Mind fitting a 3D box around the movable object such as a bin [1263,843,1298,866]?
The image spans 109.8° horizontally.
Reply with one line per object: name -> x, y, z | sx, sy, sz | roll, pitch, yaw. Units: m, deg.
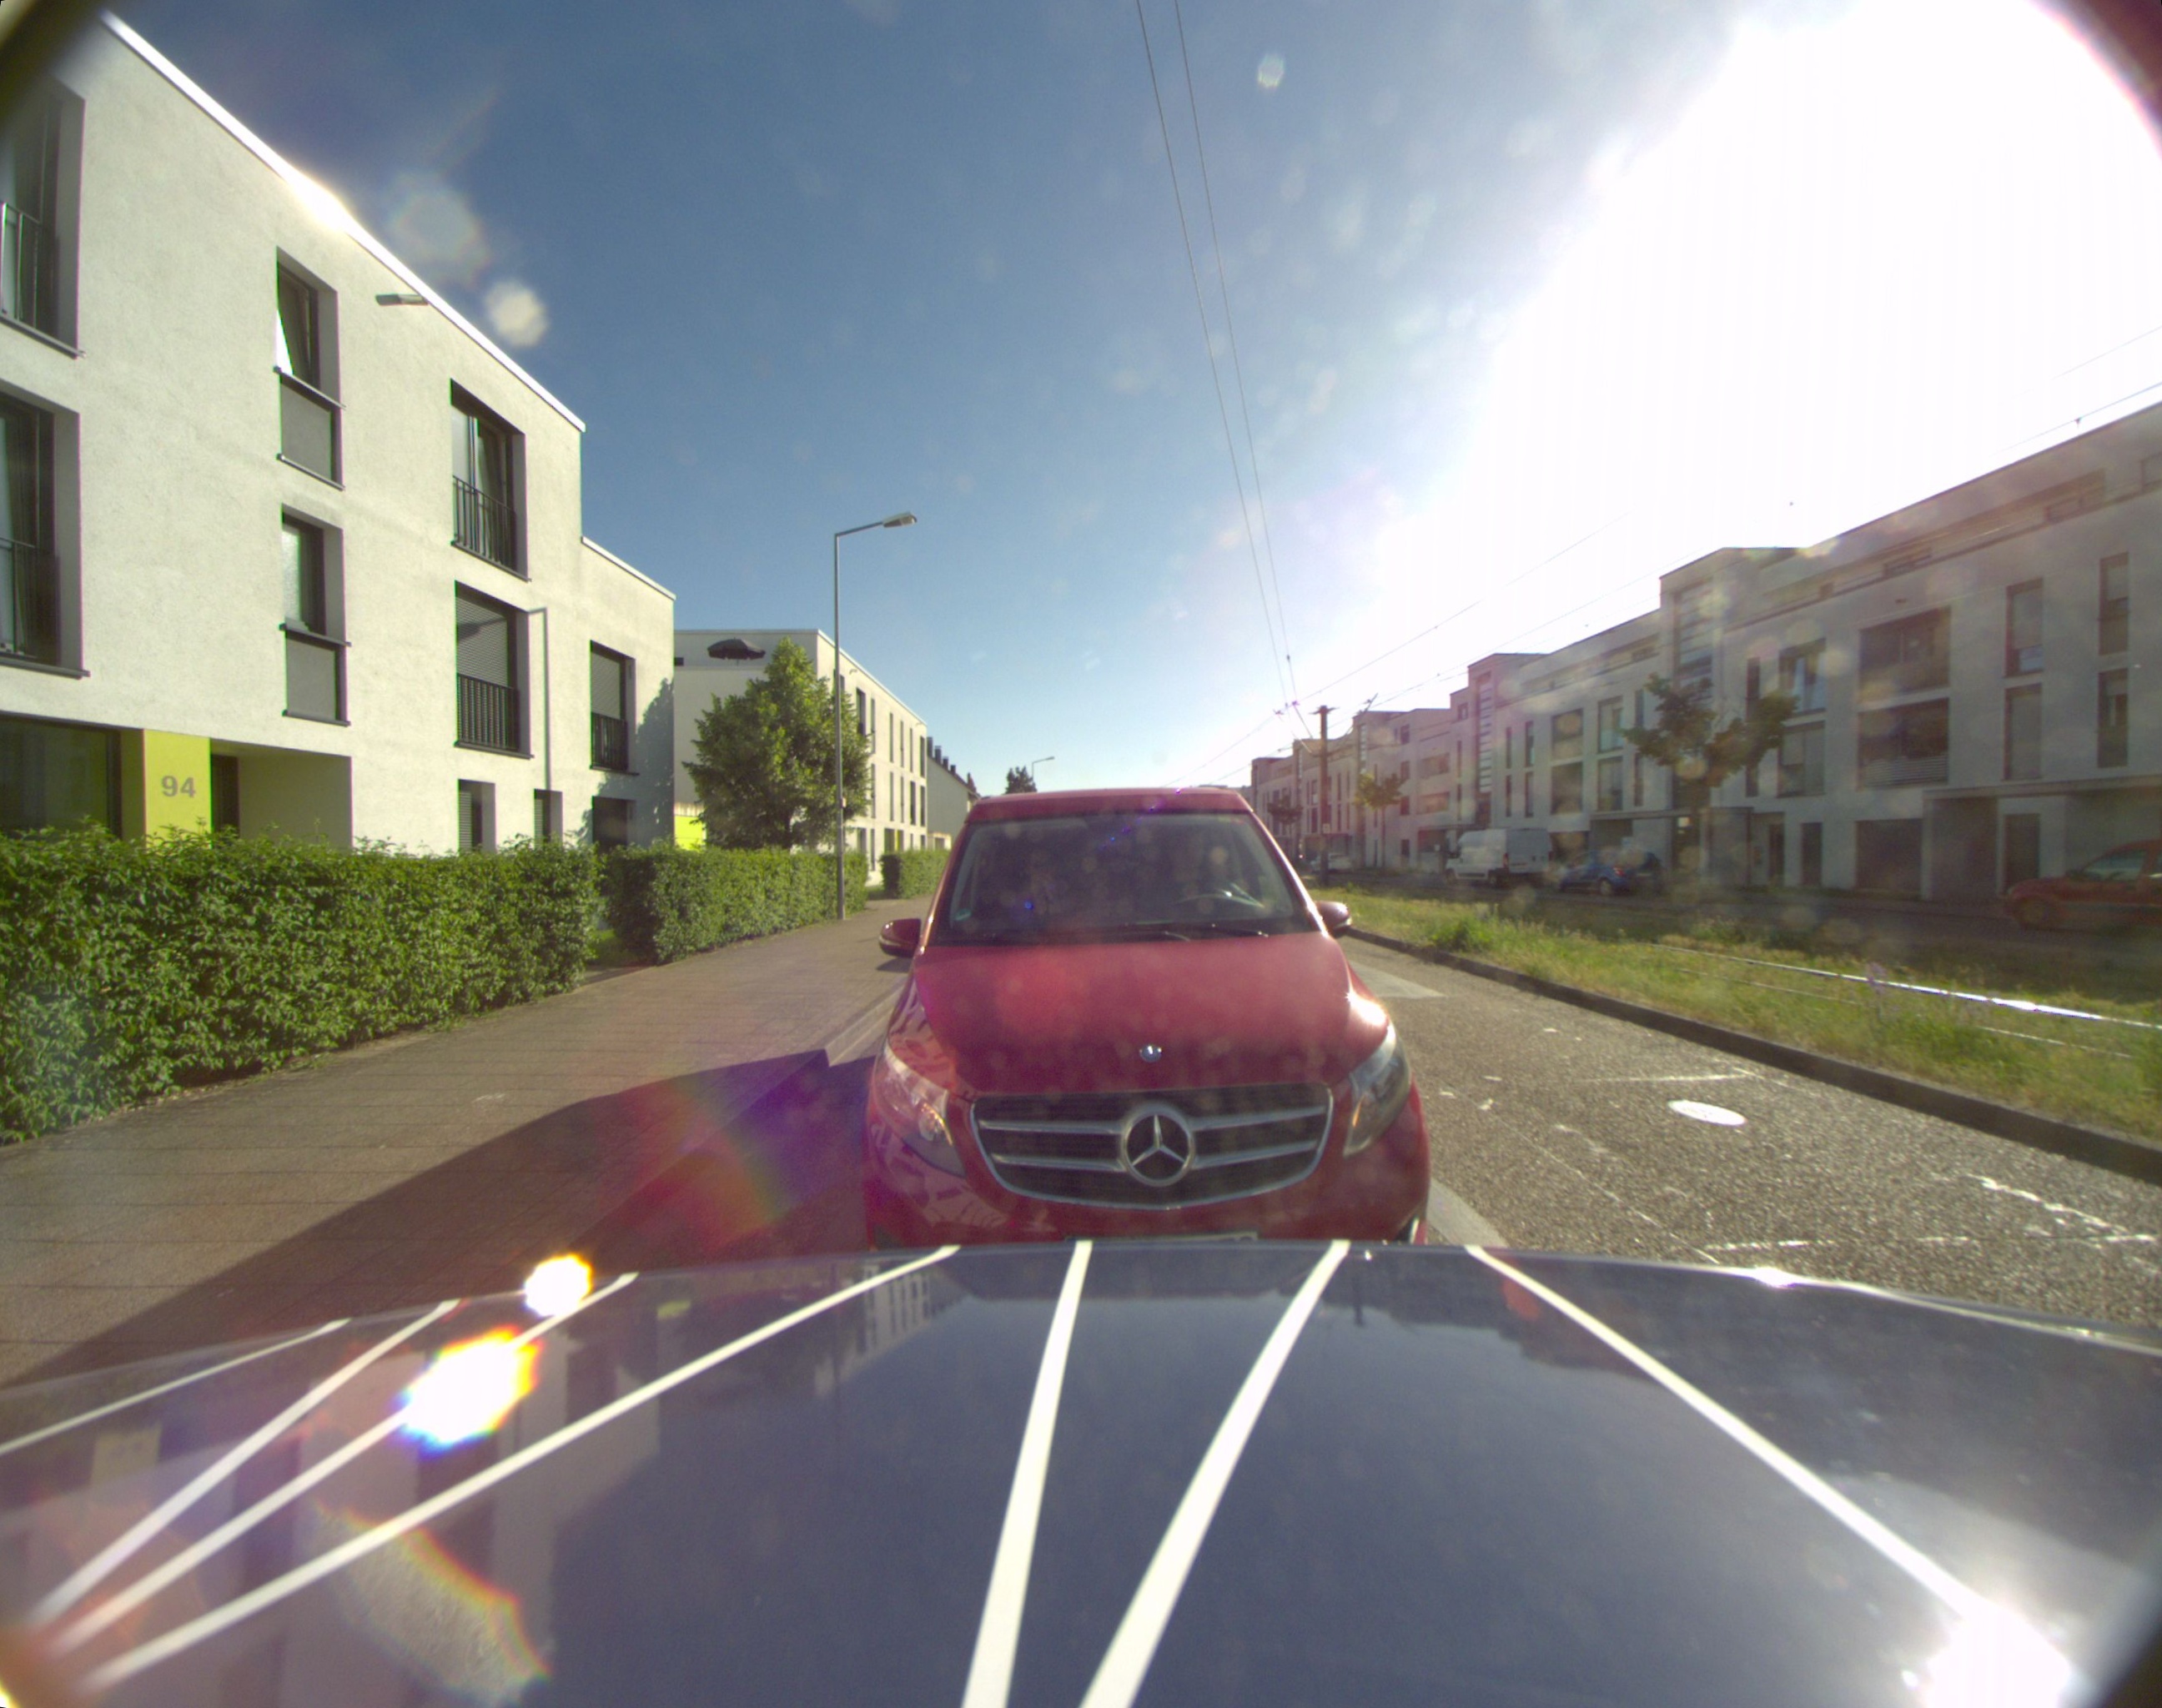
movable object such as a bin -> 17.557, 0.068, 66.980 | 1.766, 1.926, 4.155 | -2, 0, -4

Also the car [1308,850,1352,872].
car -> 17.547, 0.467, 53.708 | 1.521, 1.424, 4.155 | -2, 0, -4

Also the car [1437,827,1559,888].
car -> 18.124, 0.133, 33.448 | 2.146, 2.430, 5.588 | -2, 0, -1

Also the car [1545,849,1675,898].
car -> 18.287, 0.618, 26.493 | 1.829, 1.528, 3.842 | -2, 0, 0

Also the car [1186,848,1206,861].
car -> 15.054, 0.027, 99.591 | 1.766, 1.590, 4.155 | -2, 0, -4

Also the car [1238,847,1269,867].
car -> 16.829, 0.246, 74.275 | 1.766, 1.859, 4.155 | -2, 0, -4

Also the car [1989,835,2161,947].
car -> 18.569, 0.590, 12.833 | 1.885, 1.785, 3.837 | -2, 0, 1

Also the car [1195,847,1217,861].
car -> 15.440, 0.002, 93.956 | 1.766, 1.590, 4.155 | -2, 0, -4

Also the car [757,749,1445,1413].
car -> 0.119, 0.680, 4.870 | 1.979, 1.922, 5.205 | -2, 0, 1
